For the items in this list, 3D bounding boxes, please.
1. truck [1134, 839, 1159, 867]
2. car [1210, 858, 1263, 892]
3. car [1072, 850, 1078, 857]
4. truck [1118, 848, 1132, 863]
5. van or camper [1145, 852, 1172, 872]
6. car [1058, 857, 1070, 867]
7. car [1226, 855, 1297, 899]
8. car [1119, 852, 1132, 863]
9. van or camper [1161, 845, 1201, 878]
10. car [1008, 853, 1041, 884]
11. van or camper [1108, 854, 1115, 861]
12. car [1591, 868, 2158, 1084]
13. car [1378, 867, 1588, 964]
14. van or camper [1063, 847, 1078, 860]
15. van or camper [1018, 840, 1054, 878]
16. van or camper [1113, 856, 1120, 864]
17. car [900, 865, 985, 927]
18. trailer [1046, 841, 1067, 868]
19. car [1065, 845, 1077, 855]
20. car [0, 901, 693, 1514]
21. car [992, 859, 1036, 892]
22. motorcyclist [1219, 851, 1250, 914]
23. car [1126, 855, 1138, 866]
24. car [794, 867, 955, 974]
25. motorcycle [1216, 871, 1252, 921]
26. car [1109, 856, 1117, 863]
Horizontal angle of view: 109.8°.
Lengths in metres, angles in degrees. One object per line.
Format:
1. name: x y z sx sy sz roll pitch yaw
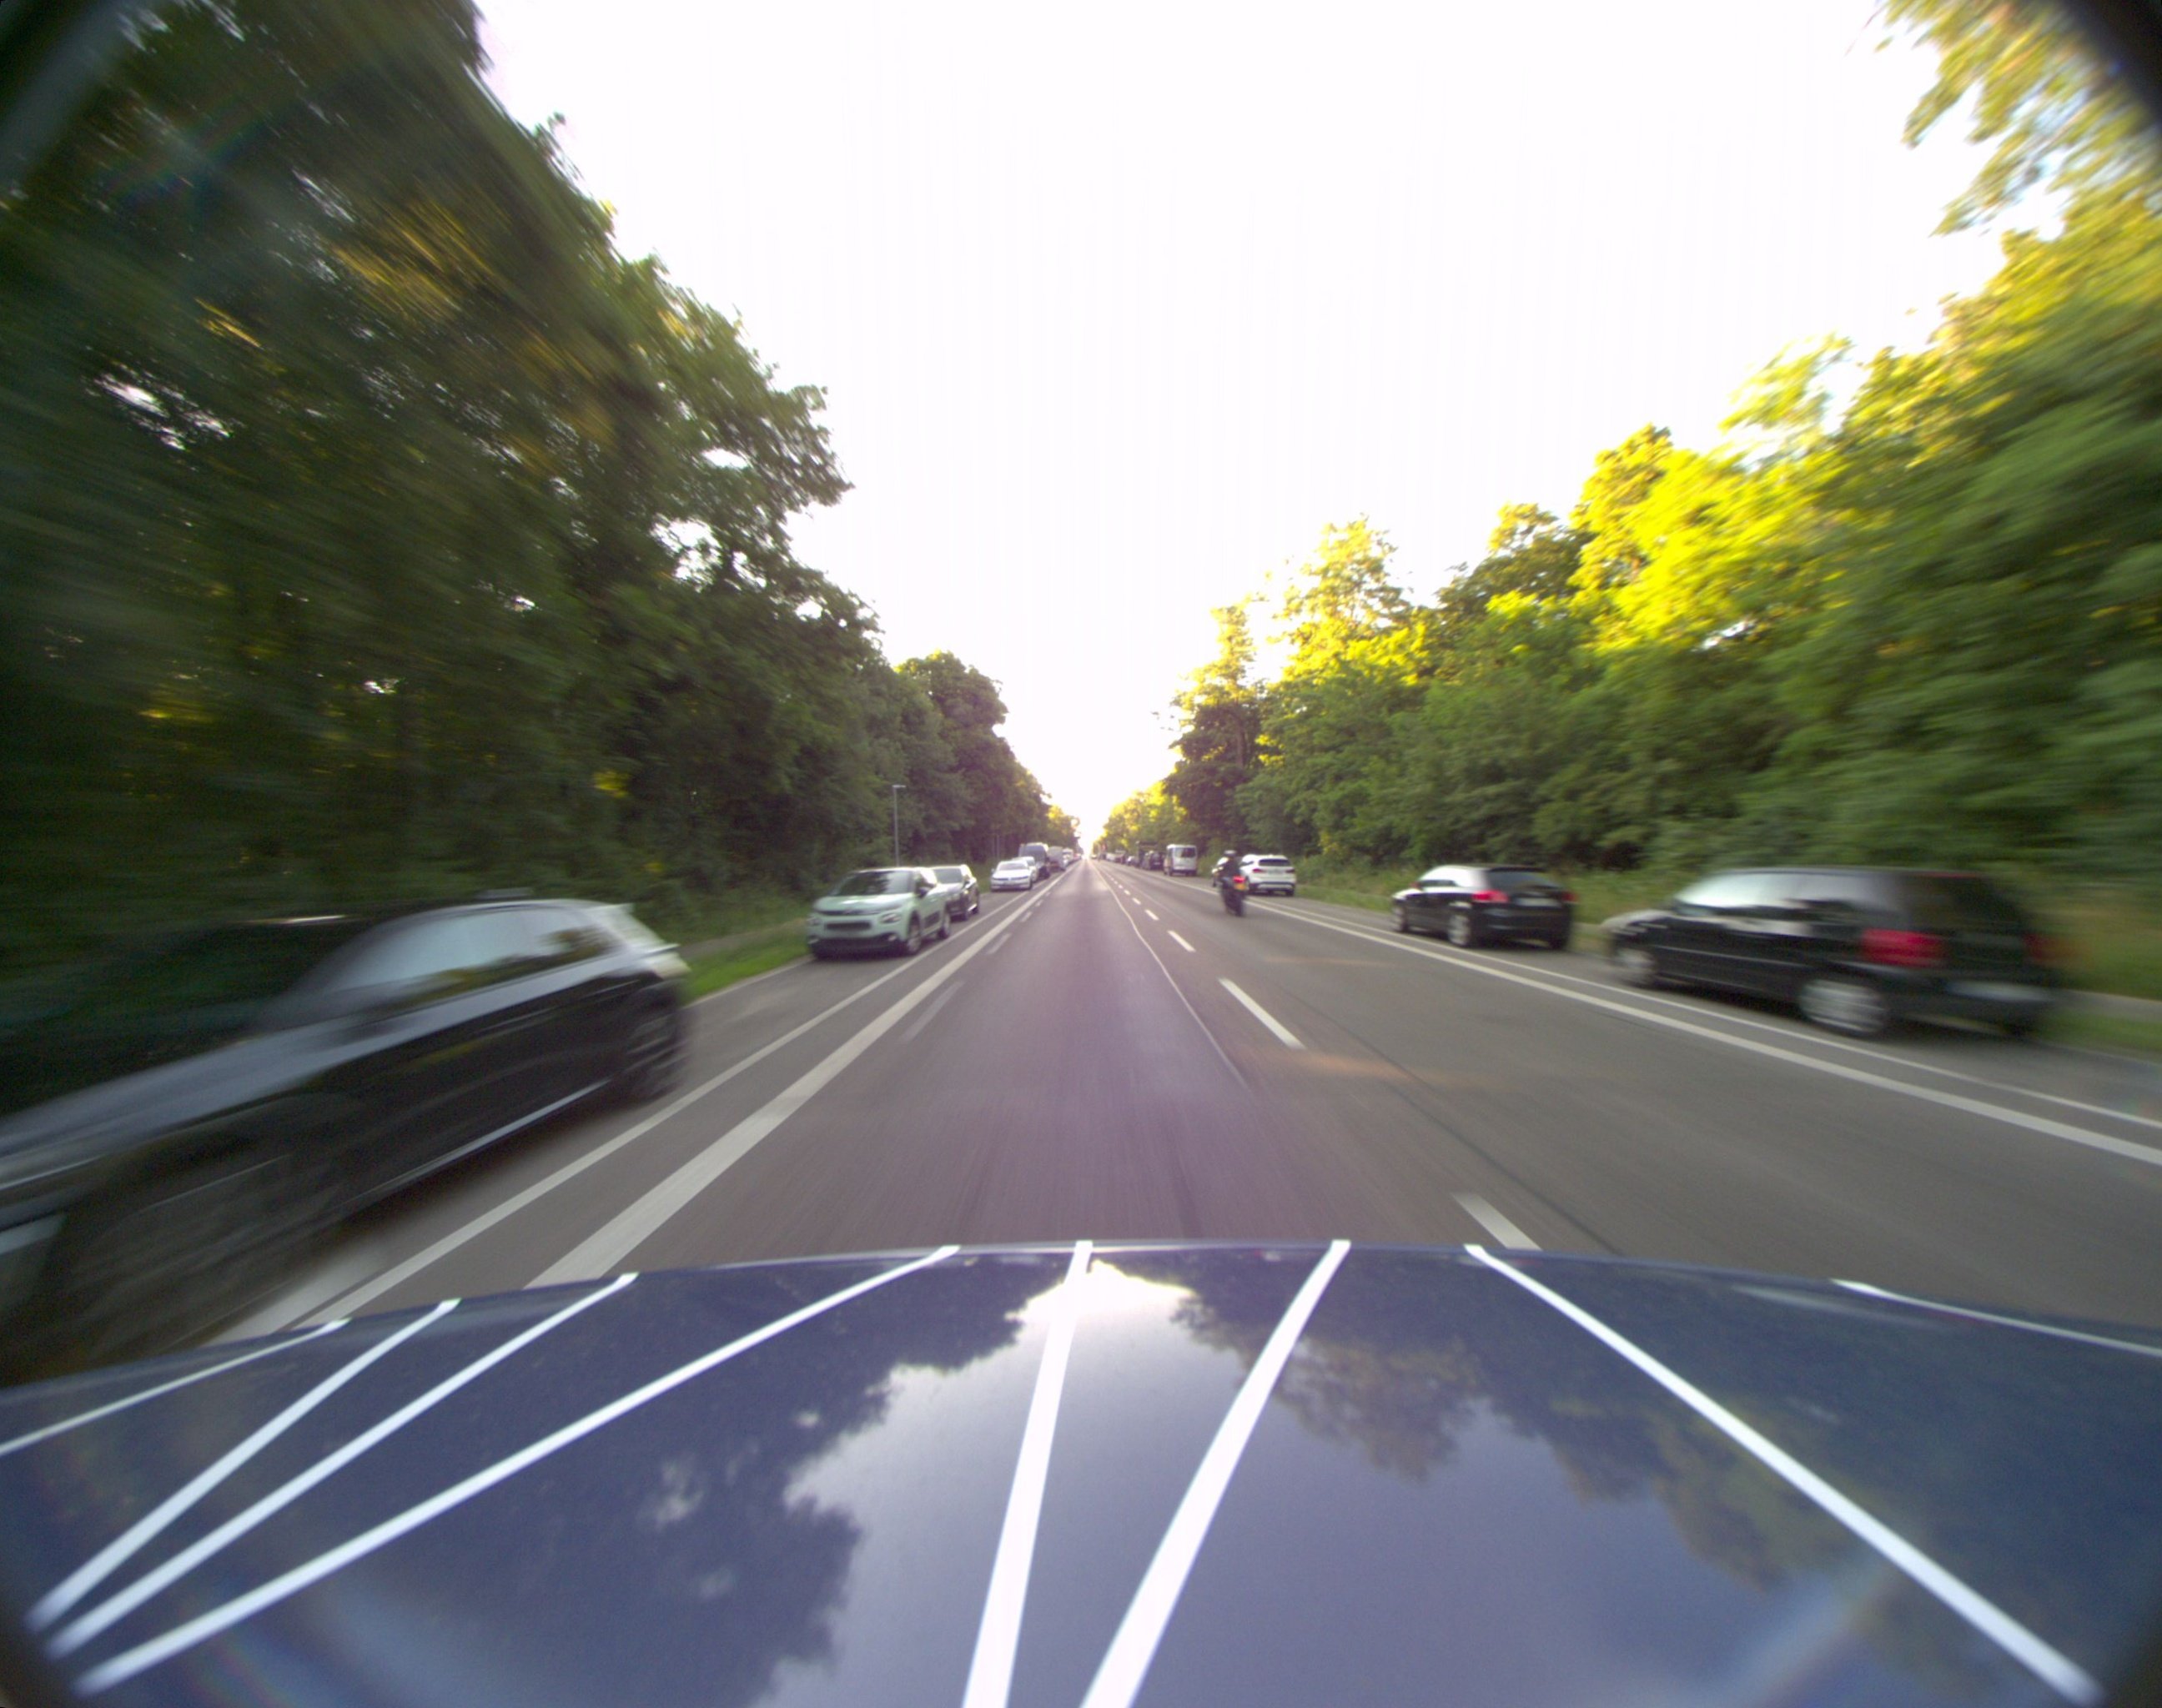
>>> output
1. truck: 7.841 -0.155 91.369 2.226 3.188 6.270 2 0 -1
2. car: 7.309 0.964 36.138 1.676 1.511 3.735 1 0 -1
3. car: -1.717 -0.145 222.990 1.844 2.007 4.196 -1 0 1
4. truck: 9.355 0.364 163.263 2.654 3.039 5.800 -2 1 1
5. van or camper: 7.918 0.783 77.970 2.034 1.945 4.691 2 0 -2
6. car: -2.648 1.265 119.632 1.844 1.585 4.196 -1 0 1
7. car: 7.244 0.883 30.916 1.699 1.636 4.572 1 0 -1
8. car: 7.759 0.607 133.245 1.852 1.948 3.934 2 0 -1
9. van or camper: 7.635 0.534 58.595 2.116 2.376 6.380 2 0 -1
10. car: -3.551 0.873 48.395 1.856 1.754 4.723 -3 0 -2
11. van or camper: 9.582 1.027 239.896 1.844 2.264 4.196 -1 0 1
12. car: 7.093 0.940 7.447 1.716 1.500 3.656 1 0 0
13. car: 6.901 0.966 13.572 1.601 1.386 4.051 0 0 0
14. van or camper: -2.209 -0.064 162.375 3.015 2.704 6.960 -1 0 1
15. van or camper: -3.187 0.352 54.814 2.132 2.526 6.060 -2 0 0
16. van or camper: 9.335 1.653 201.108 1.844 1.965 4.196 -1 0 1
17. car: -3.643 1.056 20.621 1.583 1.438 3.960 -1 0 0
18. trailer: -2.480 0.044 78.025 1.866 2.633 4.269 -2 1 0
19. car: -2.337 -0.878 171.606 2.537 2.270 5.554 -1 0 1
20. car: -3.791 1.100 3.582 1.715 1.436 4.122 -2 0 1
21. car: -3.240 1.008 37.513 1.848 1.485 4.758 -2 0 -2
22. motorcyclist: 3.819 0.686 18.976 0.605 1.520 0.995 -1 1 3
23. car: 7.514 0.953 111.439 1.606 1.495 3.760 2 0 3
24. car: -3.500 1.059 13.709 1.693 1.537 4.112 -1 0 1
25. motorcycle: 3.800 1.023 19.002 0.612 1.120 1.962 -1 0 3
26. car: 9.111 1.521 214.330 1.998 1.893 4.000 -2 1 1
